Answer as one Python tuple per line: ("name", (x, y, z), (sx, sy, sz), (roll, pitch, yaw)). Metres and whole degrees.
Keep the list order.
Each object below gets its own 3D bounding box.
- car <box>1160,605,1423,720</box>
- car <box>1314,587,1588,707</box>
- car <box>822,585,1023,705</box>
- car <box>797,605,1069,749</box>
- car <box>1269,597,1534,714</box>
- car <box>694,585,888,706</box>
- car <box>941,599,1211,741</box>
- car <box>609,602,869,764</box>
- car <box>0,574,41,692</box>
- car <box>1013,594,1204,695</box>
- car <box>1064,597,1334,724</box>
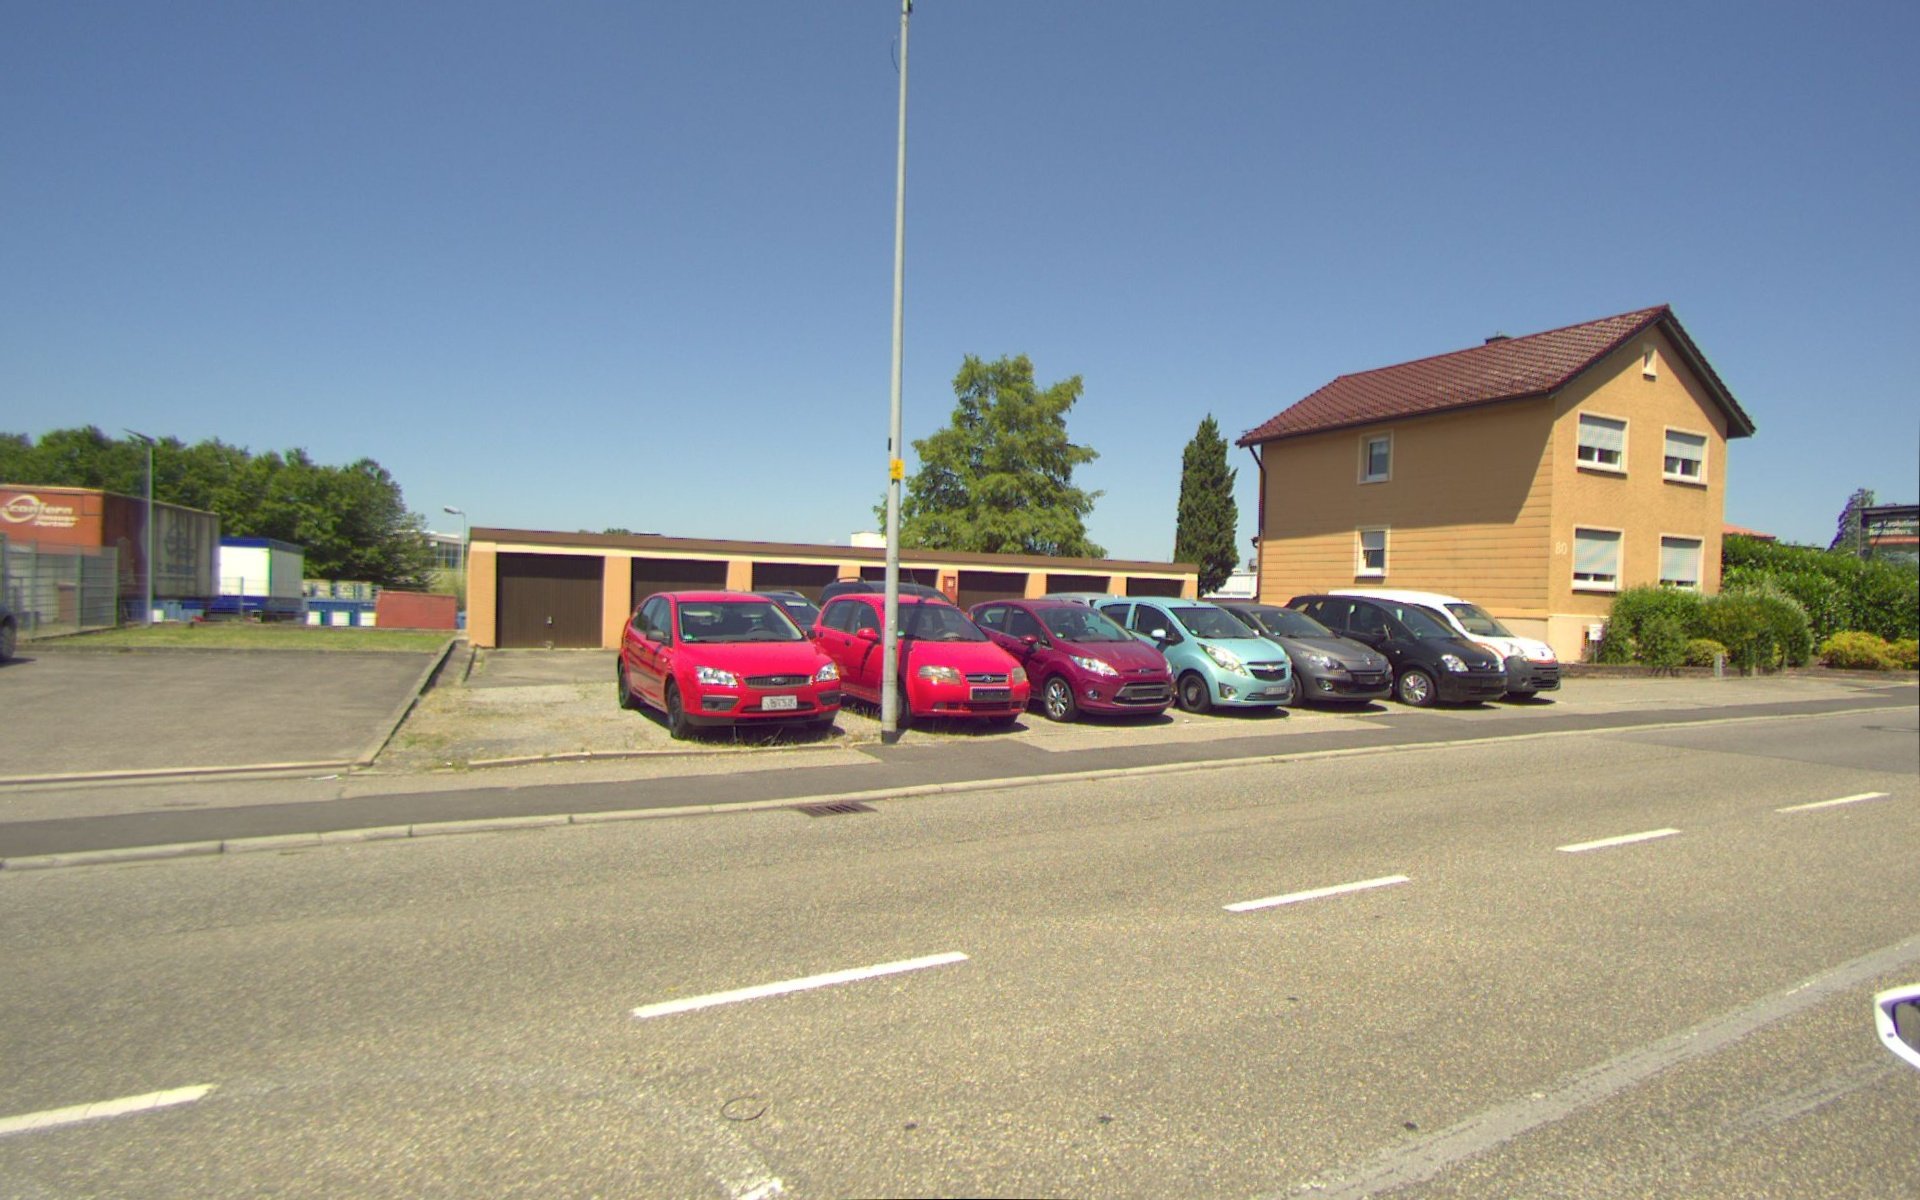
("car", (5.186, 0.903, 16.133), (1.901, 1.552, 3.644), (2, 0, -31))
("car", (8.850, 0.764, 18.427), (1.979, 1.923, 4.069), (2, 0, -34))
("car", (-0.765, 0.683, 17.433), (1.838, 1.829, 3.829), (2, 0, -31))
("car", (-0.484, 0.852, 12.725), (1.871, 1.477, 3.644), (2, 0, -31))
("car", (7.277, 0.839, 16.888), (1.901, 1.695, 3.644), (2, 0, -31))
("car", (-2.863, 0.653, 16.390), (1.871, 1.732, 3.644), (2, 0, -31))
("car", (1.459, 0.849, 13.882), (1.861, 1.626, 3.644), (2, 0, -31))
("car", (-2.736, 0.806, 11.665), (1.805, 1.463, 4.106), (2, 0, -30))
("car", (-13.539, 0.426, 12.703), (1.731, 1.605, 3.973), (2, 0, -26))
("car", (2.888, 0.815, 20.233), (1.901, 1.800, 3.644), (2, 0, -31))
("car", (3.429, 0.796, 15.014), (1.901, 1.602, 3.644), (2, 0, -31))
